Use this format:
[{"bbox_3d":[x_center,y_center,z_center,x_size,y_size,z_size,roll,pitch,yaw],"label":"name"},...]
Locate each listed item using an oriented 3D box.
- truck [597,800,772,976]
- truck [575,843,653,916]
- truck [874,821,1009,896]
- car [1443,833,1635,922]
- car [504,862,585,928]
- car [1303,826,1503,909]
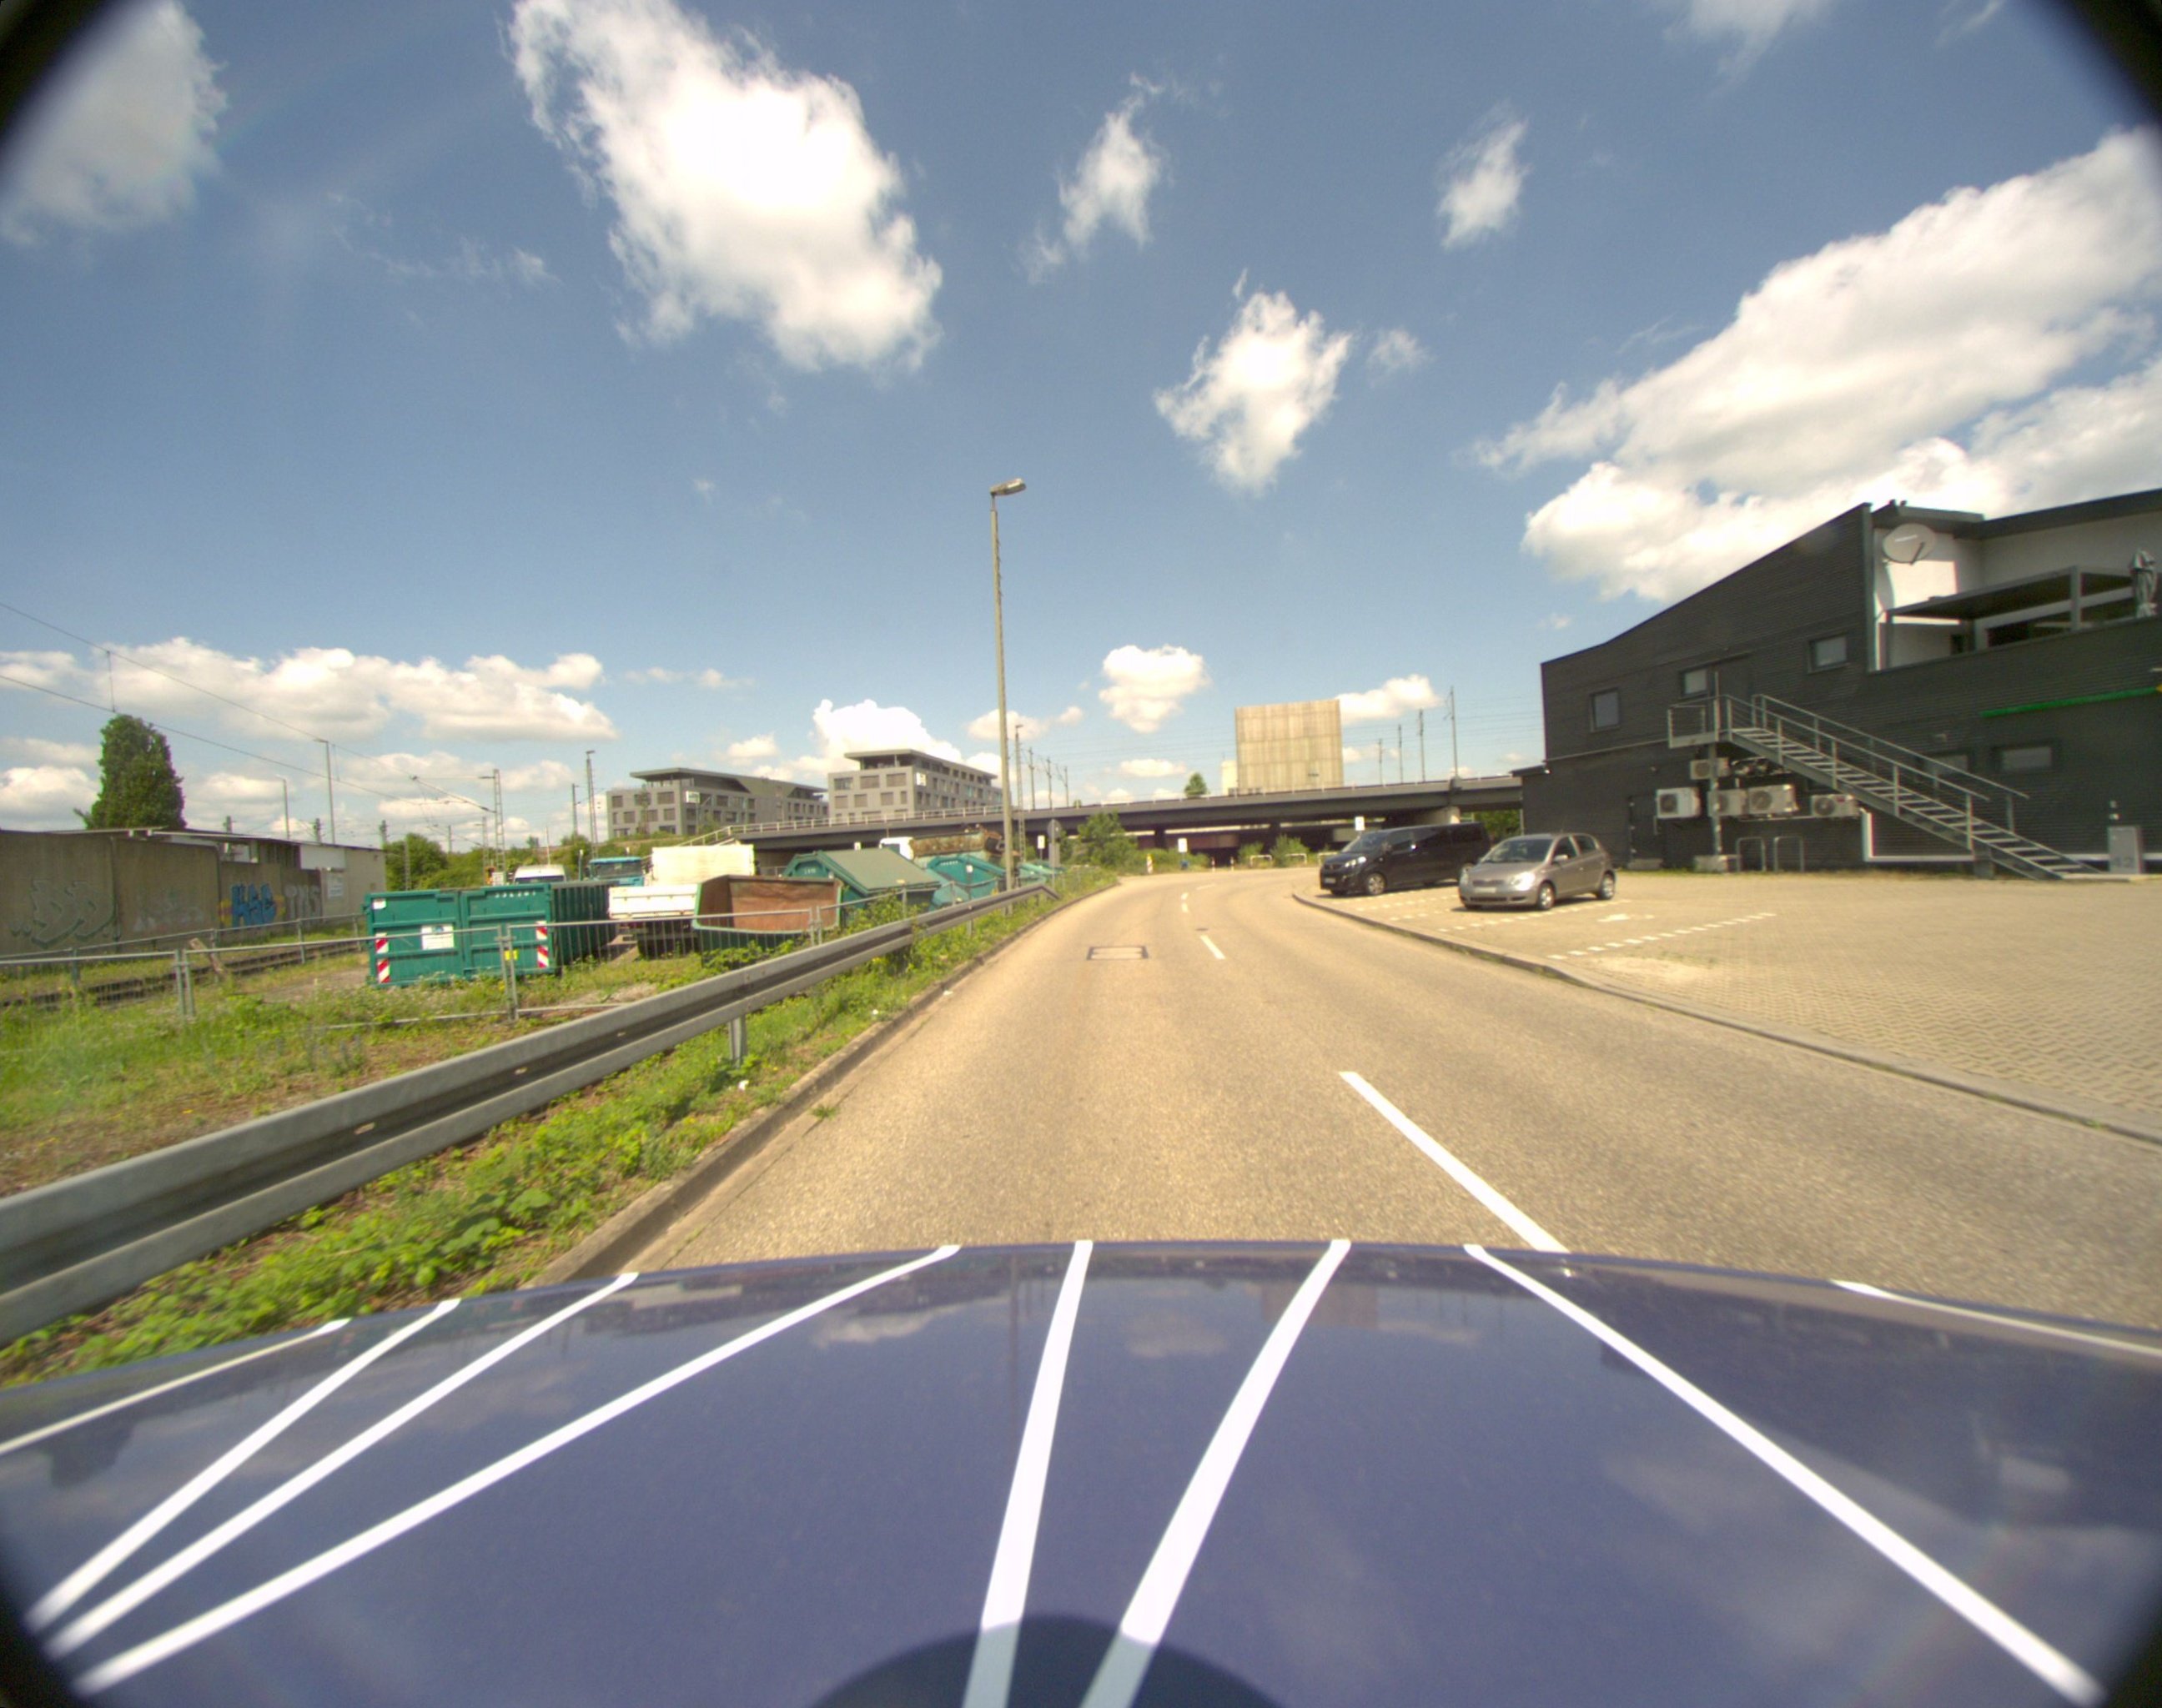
[{"bbox_3d":[-9.434,0.647,19.037,2.998,3.399,8.099,-2,1,-22],"label":"truck"},{"bbox_3d":[-26.405,1.386,42.790,2.660,3.625,6.870,-5,3,-38],"label":"truck"},{"bbox_3d":[-6.249,0.207,34.236,5.505,3.080,2.001,-2,1,11],"label":"truck"},{"bbox_3d":[9.518,0.441,15.749,3.700,1.468,1.793,-4,0,-31],"label":"car"},{"bbox_3d":[-23.447,1.683,33.450,2.069,2.512,5.869,-4,1,-29],"label":"car"},{"bbox_3d":[9.584,0.361,22.688,5.346,1.905,1.997,-5,1,-16],"label":"car"}]
